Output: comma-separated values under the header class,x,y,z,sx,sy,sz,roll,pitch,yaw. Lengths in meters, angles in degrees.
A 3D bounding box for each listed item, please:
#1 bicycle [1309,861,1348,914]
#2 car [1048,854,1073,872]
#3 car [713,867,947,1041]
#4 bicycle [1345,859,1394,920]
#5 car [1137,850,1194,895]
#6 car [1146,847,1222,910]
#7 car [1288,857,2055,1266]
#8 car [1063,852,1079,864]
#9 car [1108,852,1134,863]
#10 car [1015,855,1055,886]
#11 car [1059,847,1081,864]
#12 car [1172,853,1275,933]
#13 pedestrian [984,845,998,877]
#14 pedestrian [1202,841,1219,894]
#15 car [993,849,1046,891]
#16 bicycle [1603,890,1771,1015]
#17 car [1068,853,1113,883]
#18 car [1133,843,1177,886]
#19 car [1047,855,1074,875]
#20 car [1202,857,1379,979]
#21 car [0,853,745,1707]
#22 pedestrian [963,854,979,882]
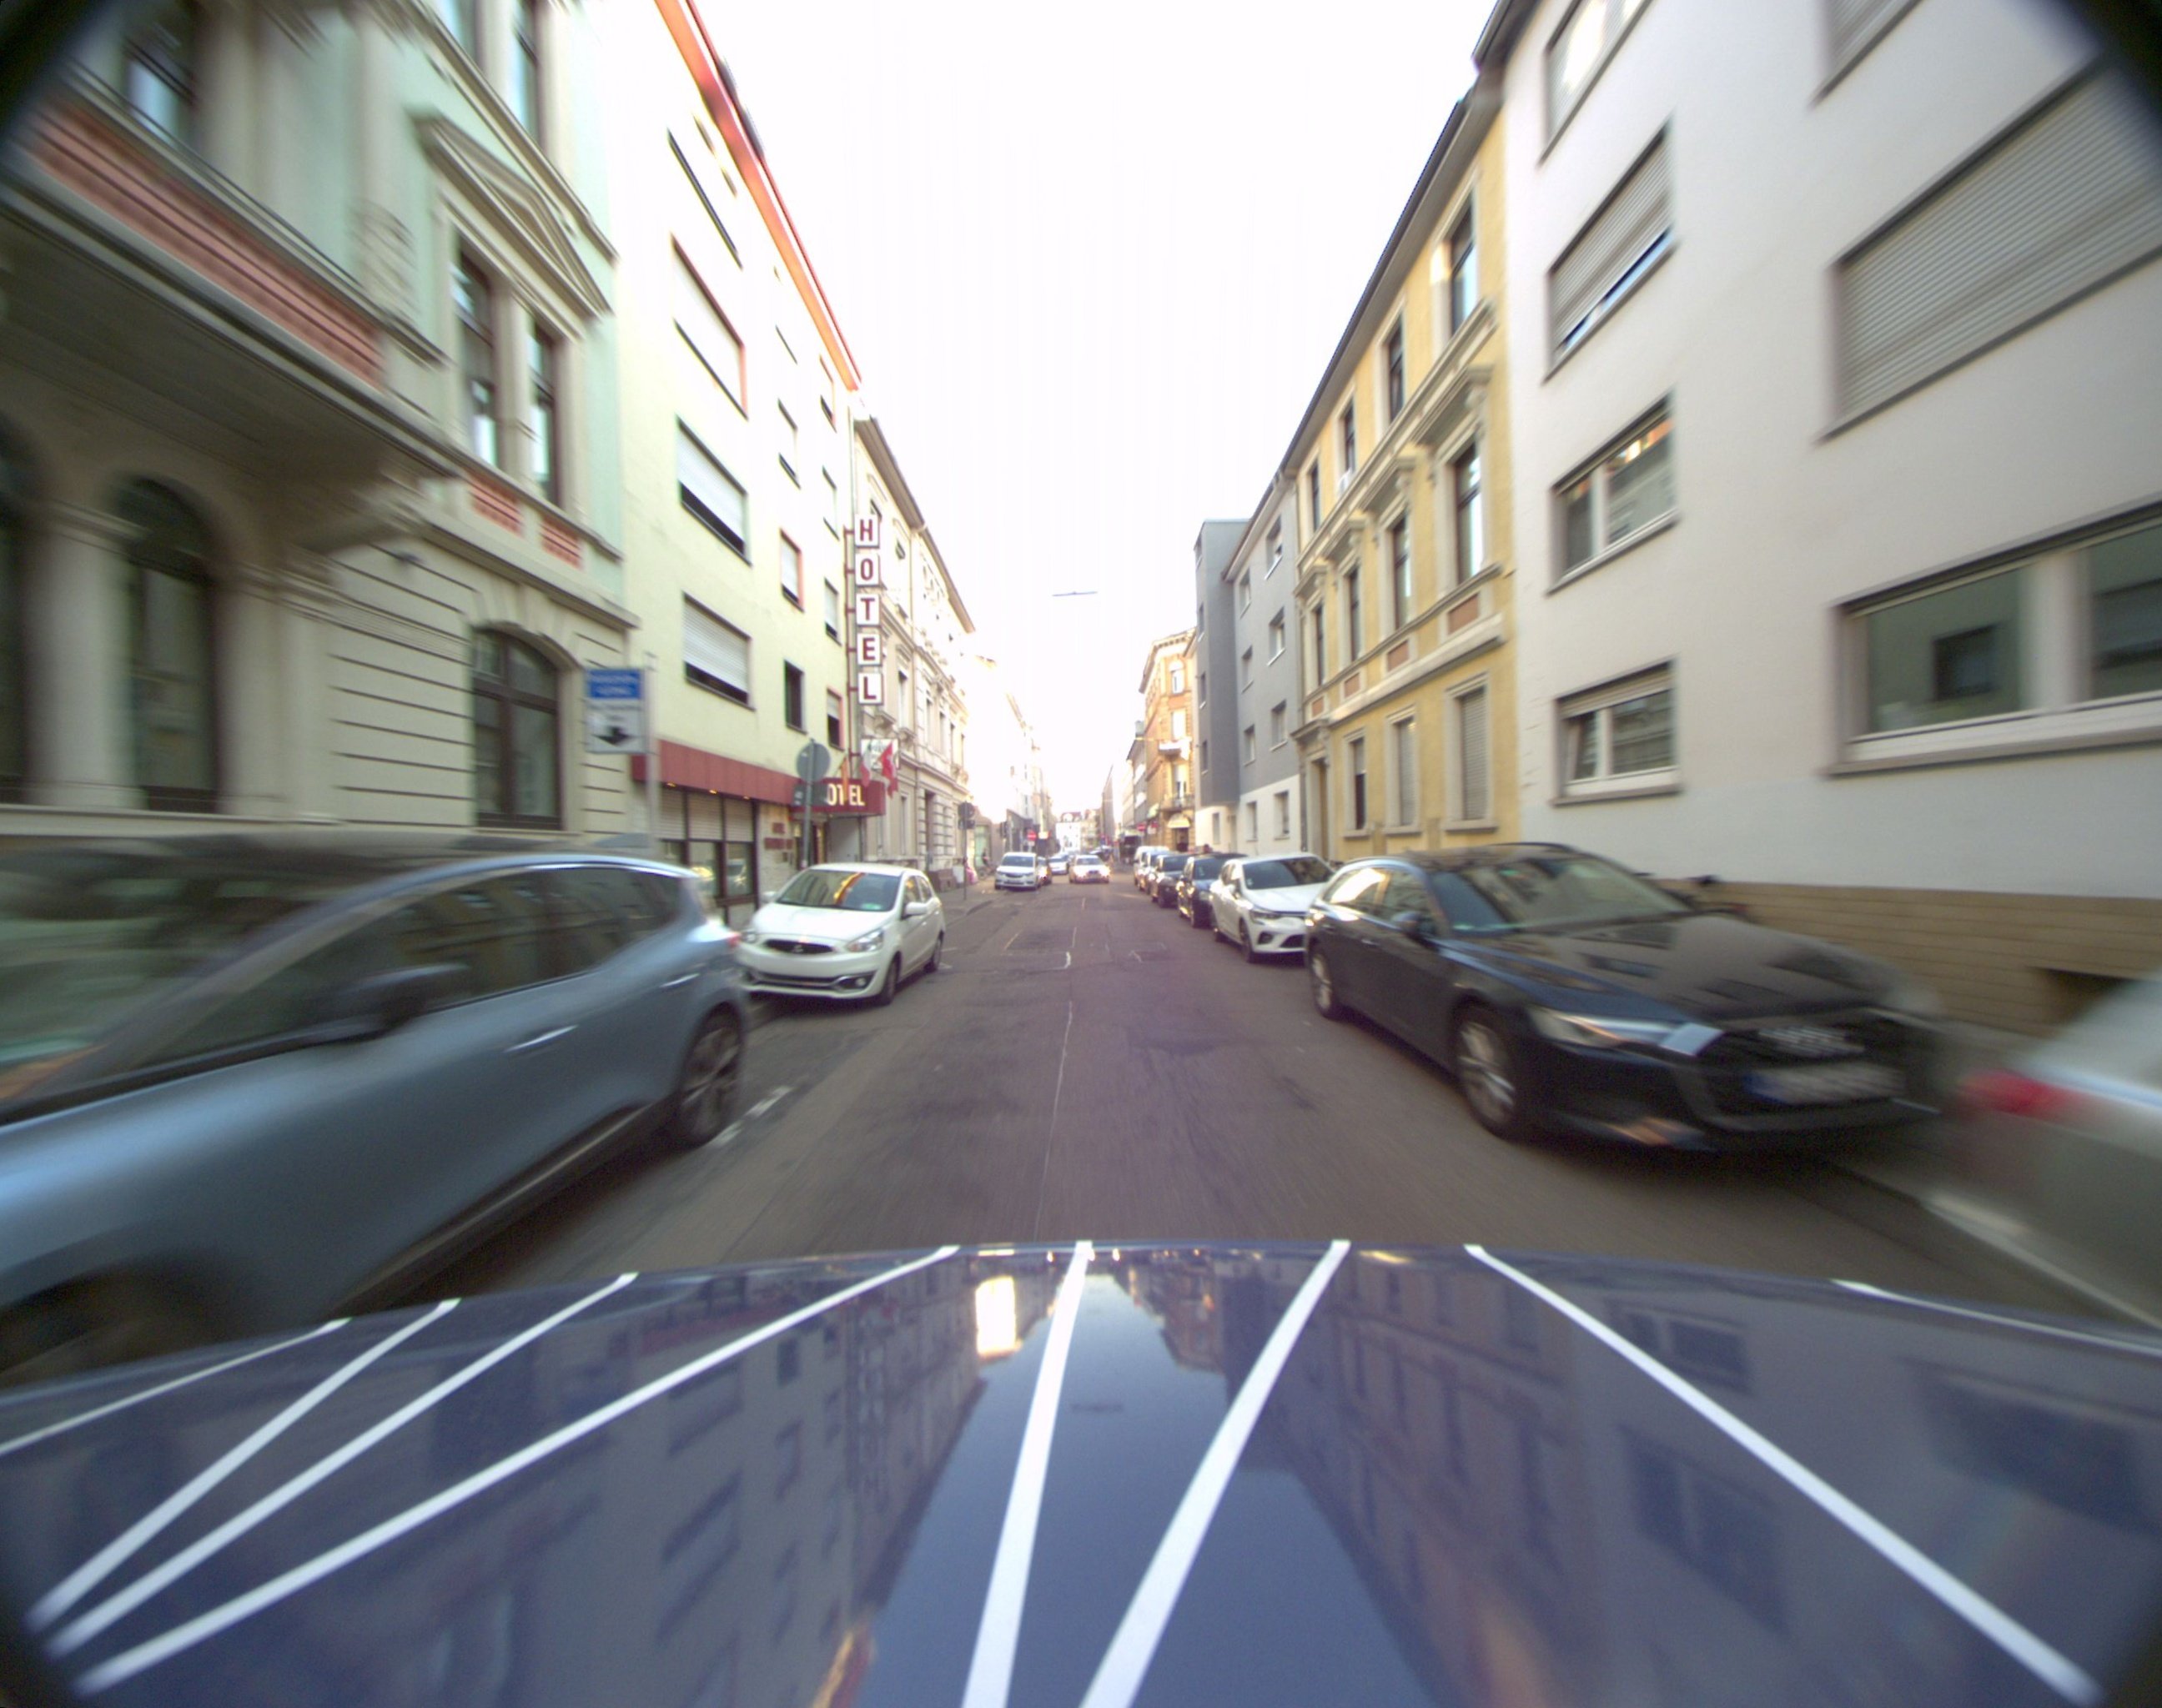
class,x,y,z,sx,sy,sz,roll,pitch,yaw
bicycle,5.533,0.717,17.058,0.382,1.108,1.544,-1,0,2
car,-1.636,0.726,61.986,1.729,1.391,3.892,-1,0,2
car,-2.751,1.001,9.169,1.574,1.569,3.589,-1,0,0
bicycle,5.586,0.655,14.776,0.382,1.108,1.544,-1,0,2
car,3.170,0.655,29.273,1.642,1.571,3.782,-1,0,-2
car,2.991,0.659,22.745,1.642,1.701,3.782,-1,0,-2
car,2.935,0.826,5.230,1.795,1.530,4.494,-1,0,0
car,-1.253,0.472,95.409,1.729,1.391,3.892,-1,0,2
car,6.463,0.566,122.638,3.881,1.568,1.734,-1,1,43
car,-2.353,0.802,39.760,1.729,1.469,3.976,-2,0,2
car,-0.971,0.101,66.888,1.729,1.391,3.892,-1,0,2
car,3.002,0.759,16.693,1.642,1.480,3.954,-1,0,2
pedestrian,-5.675,0.449,47.826,0.767,2.002,0.595,-1,1,3
pedestrian,4.320,0.446,25.337,0.456,1.745,0.455,-1,1,-1
car,-2.721,0.677,34.460,1.841,1.685,4.358,3,0,2
bicycle,5.798,0.891,7.374,0.292,1.003,1.543,-2,1,-4
car,0.413,0.677,38.973,1.682,1.395,4.468,-3,0,-7
car,3.278,0.436,34.349,1.642,1.786,3.783,-1,0,1
car,-1.505,0.804,57.075,1.729,1.391,3.892,-1,0,2
car,2.980,0.825,11.591,1.642,1.480,3.788,-1,0,0
car,-2.892,0.890,2.475,1.694,1.731,4.109,-1,0,0
pedestrian,-5.580,0.715,38.451,0.696,1.415,0.483,-1,1,2
